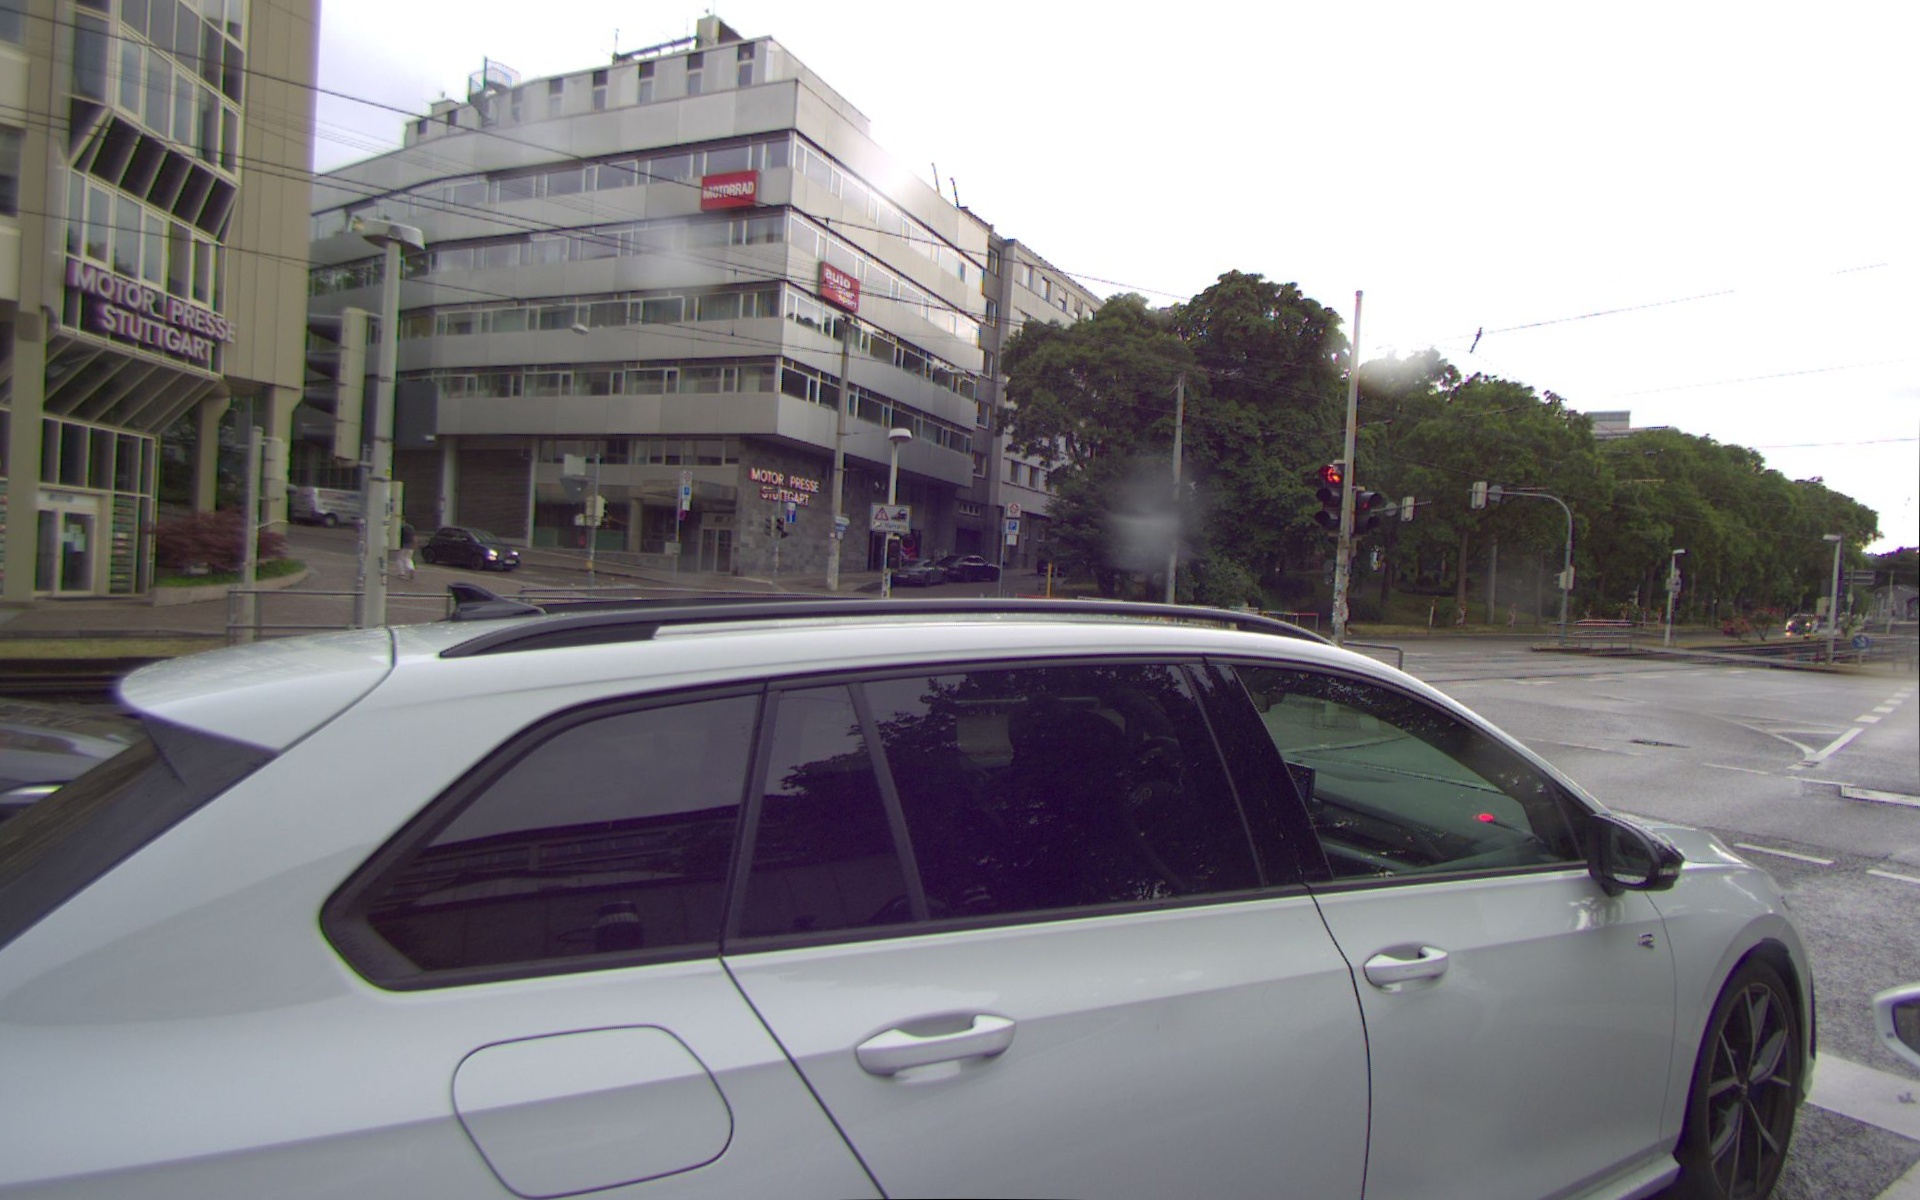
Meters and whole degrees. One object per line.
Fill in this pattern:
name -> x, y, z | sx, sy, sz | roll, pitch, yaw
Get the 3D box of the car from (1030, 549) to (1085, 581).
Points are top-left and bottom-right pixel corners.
car -> 6.433, -2.292, 65.911 | 1.964, 1.818, 4.202 | 6, 2, 30

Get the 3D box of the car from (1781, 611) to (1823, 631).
car -> 70.793, 1.790, 84.408 | 3.967, 1.539, 1.977 | 1, 2, -40

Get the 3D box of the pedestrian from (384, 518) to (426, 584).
pedestrian -> -16.060, -1.414, 29.047 | 0.630, 1.811, 0.808 | 6, 3, 36

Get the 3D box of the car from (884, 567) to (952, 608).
car -> -2.066, -0.641, 50.765 | 1.961, 1.818, 4.000 | 5, 2, 19

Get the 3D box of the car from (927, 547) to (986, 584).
car -> -0.161, -1.950, 55.626 | 1.961, 1.818, 3.998 | 5, 5, 19

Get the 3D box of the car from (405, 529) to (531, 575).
car -> -18.192, -1.781, 37.201 | 3.920, 1.383, 1.830 | 5, 2, 16

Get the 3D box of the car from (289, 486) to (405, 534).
car -> -32.090, -4.687, 52.726 | 1.963, 2.040, 4.831 | 5, 2, 26

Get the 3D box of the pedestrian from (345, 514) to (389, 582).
pedestrian -> -16.538, -1.444, 28.007 | 0.630, 1.811, 0.808 | 6, 3, 36

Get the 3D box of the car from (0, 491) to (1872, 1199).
car -> 0.113, 0.726, 2.264 | 4.203, 1.597, 1.670 | 2, 1, -31

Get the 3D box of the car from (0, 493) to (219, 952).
car -> -5.208, 0.316, 3.049 | 4.592, 1.487, 1.982 | 1, 3, -32
